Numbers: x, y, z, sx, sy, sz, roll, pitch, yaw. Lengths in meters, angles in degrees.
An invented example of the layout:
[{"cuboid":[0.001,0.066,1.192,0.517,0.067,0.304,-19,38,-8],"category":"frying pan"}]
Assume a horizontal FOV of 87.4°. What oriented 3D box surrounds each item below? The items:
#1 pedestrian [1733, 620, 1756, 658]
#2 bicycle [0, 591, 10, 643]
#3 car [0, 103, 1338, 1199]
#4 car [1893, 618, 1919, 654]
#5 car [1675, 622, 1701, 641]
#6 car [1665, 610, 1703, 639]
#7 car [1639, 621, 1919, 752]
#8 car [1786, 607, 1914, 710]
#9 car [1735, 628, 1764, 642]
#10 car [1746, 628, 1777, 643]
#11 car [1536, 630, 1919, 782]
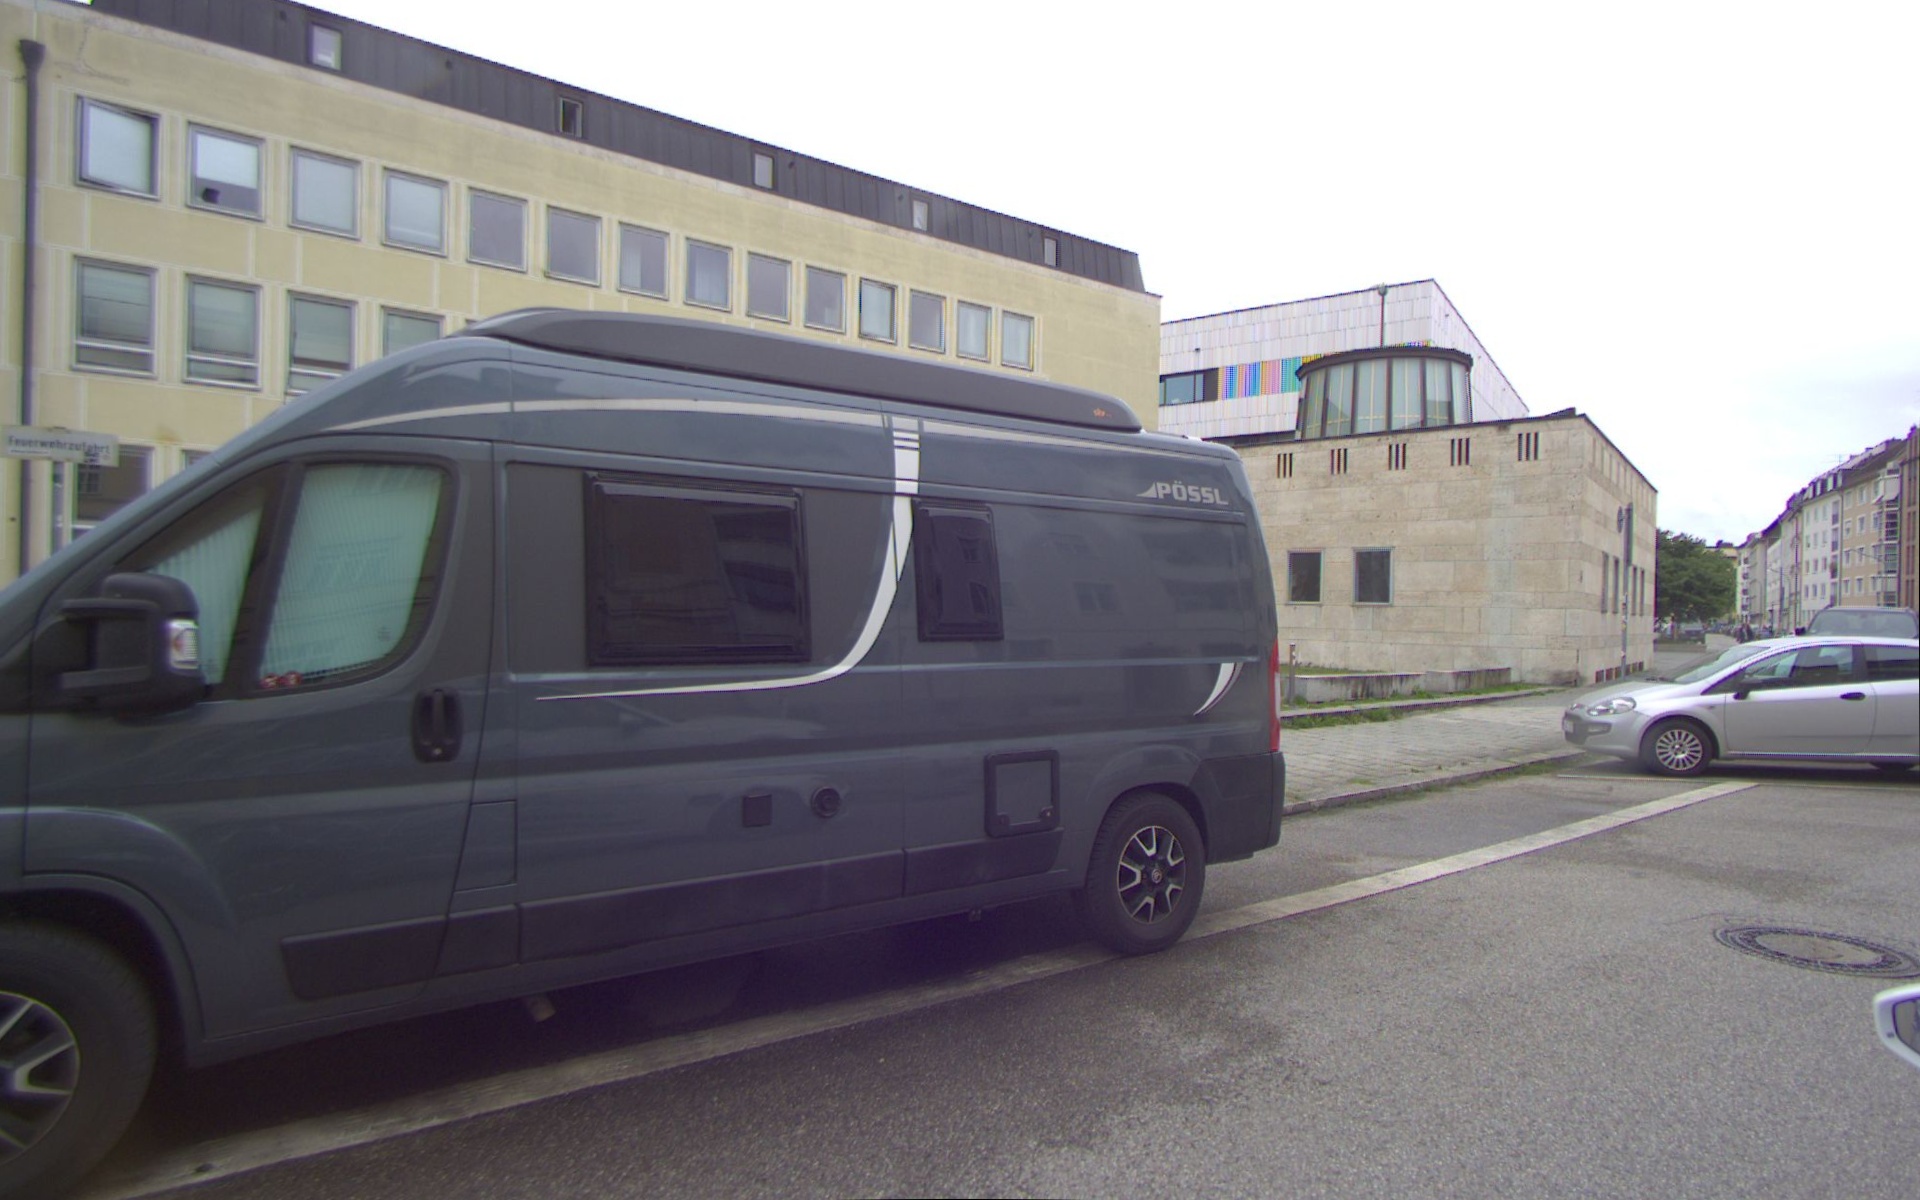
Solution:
[{"cuboid":[36.645,1.812,46.923,0.742,1.726,0.922,2,1,42],"category":"pedestrian"},{"cuboid":[-19.169,0.335,19.393,0.617,1.028,1.940,1,0,-26],"category":"bicycle"},{"cuboid":[-1.087,0.228,4.416,5.955,2.677,2.151,1,-1,-34],"category":"car"},{"cuboid":[54.612,2.063,57.108,1.688,1.972,3.987,2,0,35],"category":"car"},{"cuboid":[69.478,2.985,95.866,1.891,1.769,4.762,1,0,35],"category":"car"},{"cuboid":[46.882,1.551,65.096,1.891,1.769,4.762,1,0,35],"category":"car"},{"cuboid":[11.464,1.090,13.109,4.007,1.501,1.684,1,0,22],"category":"car"},{"cuboid":[17.245,1.051,19.428,1.661,1.729,4.487,1,0,43],"category":"car"},{"cuboid":[89.330,3.953,113.689,1.780,1.492,4.111,2,1,27],"category":"car"},{"cuboid":[87.031,3.851,109.116,1.780,1.492,4.111,2,1,27],"category":"car"},{"cuboid":[8.832,1.133,11.095,4.006,1.500,1.685,-1,-4,20],"category":"car"}]
